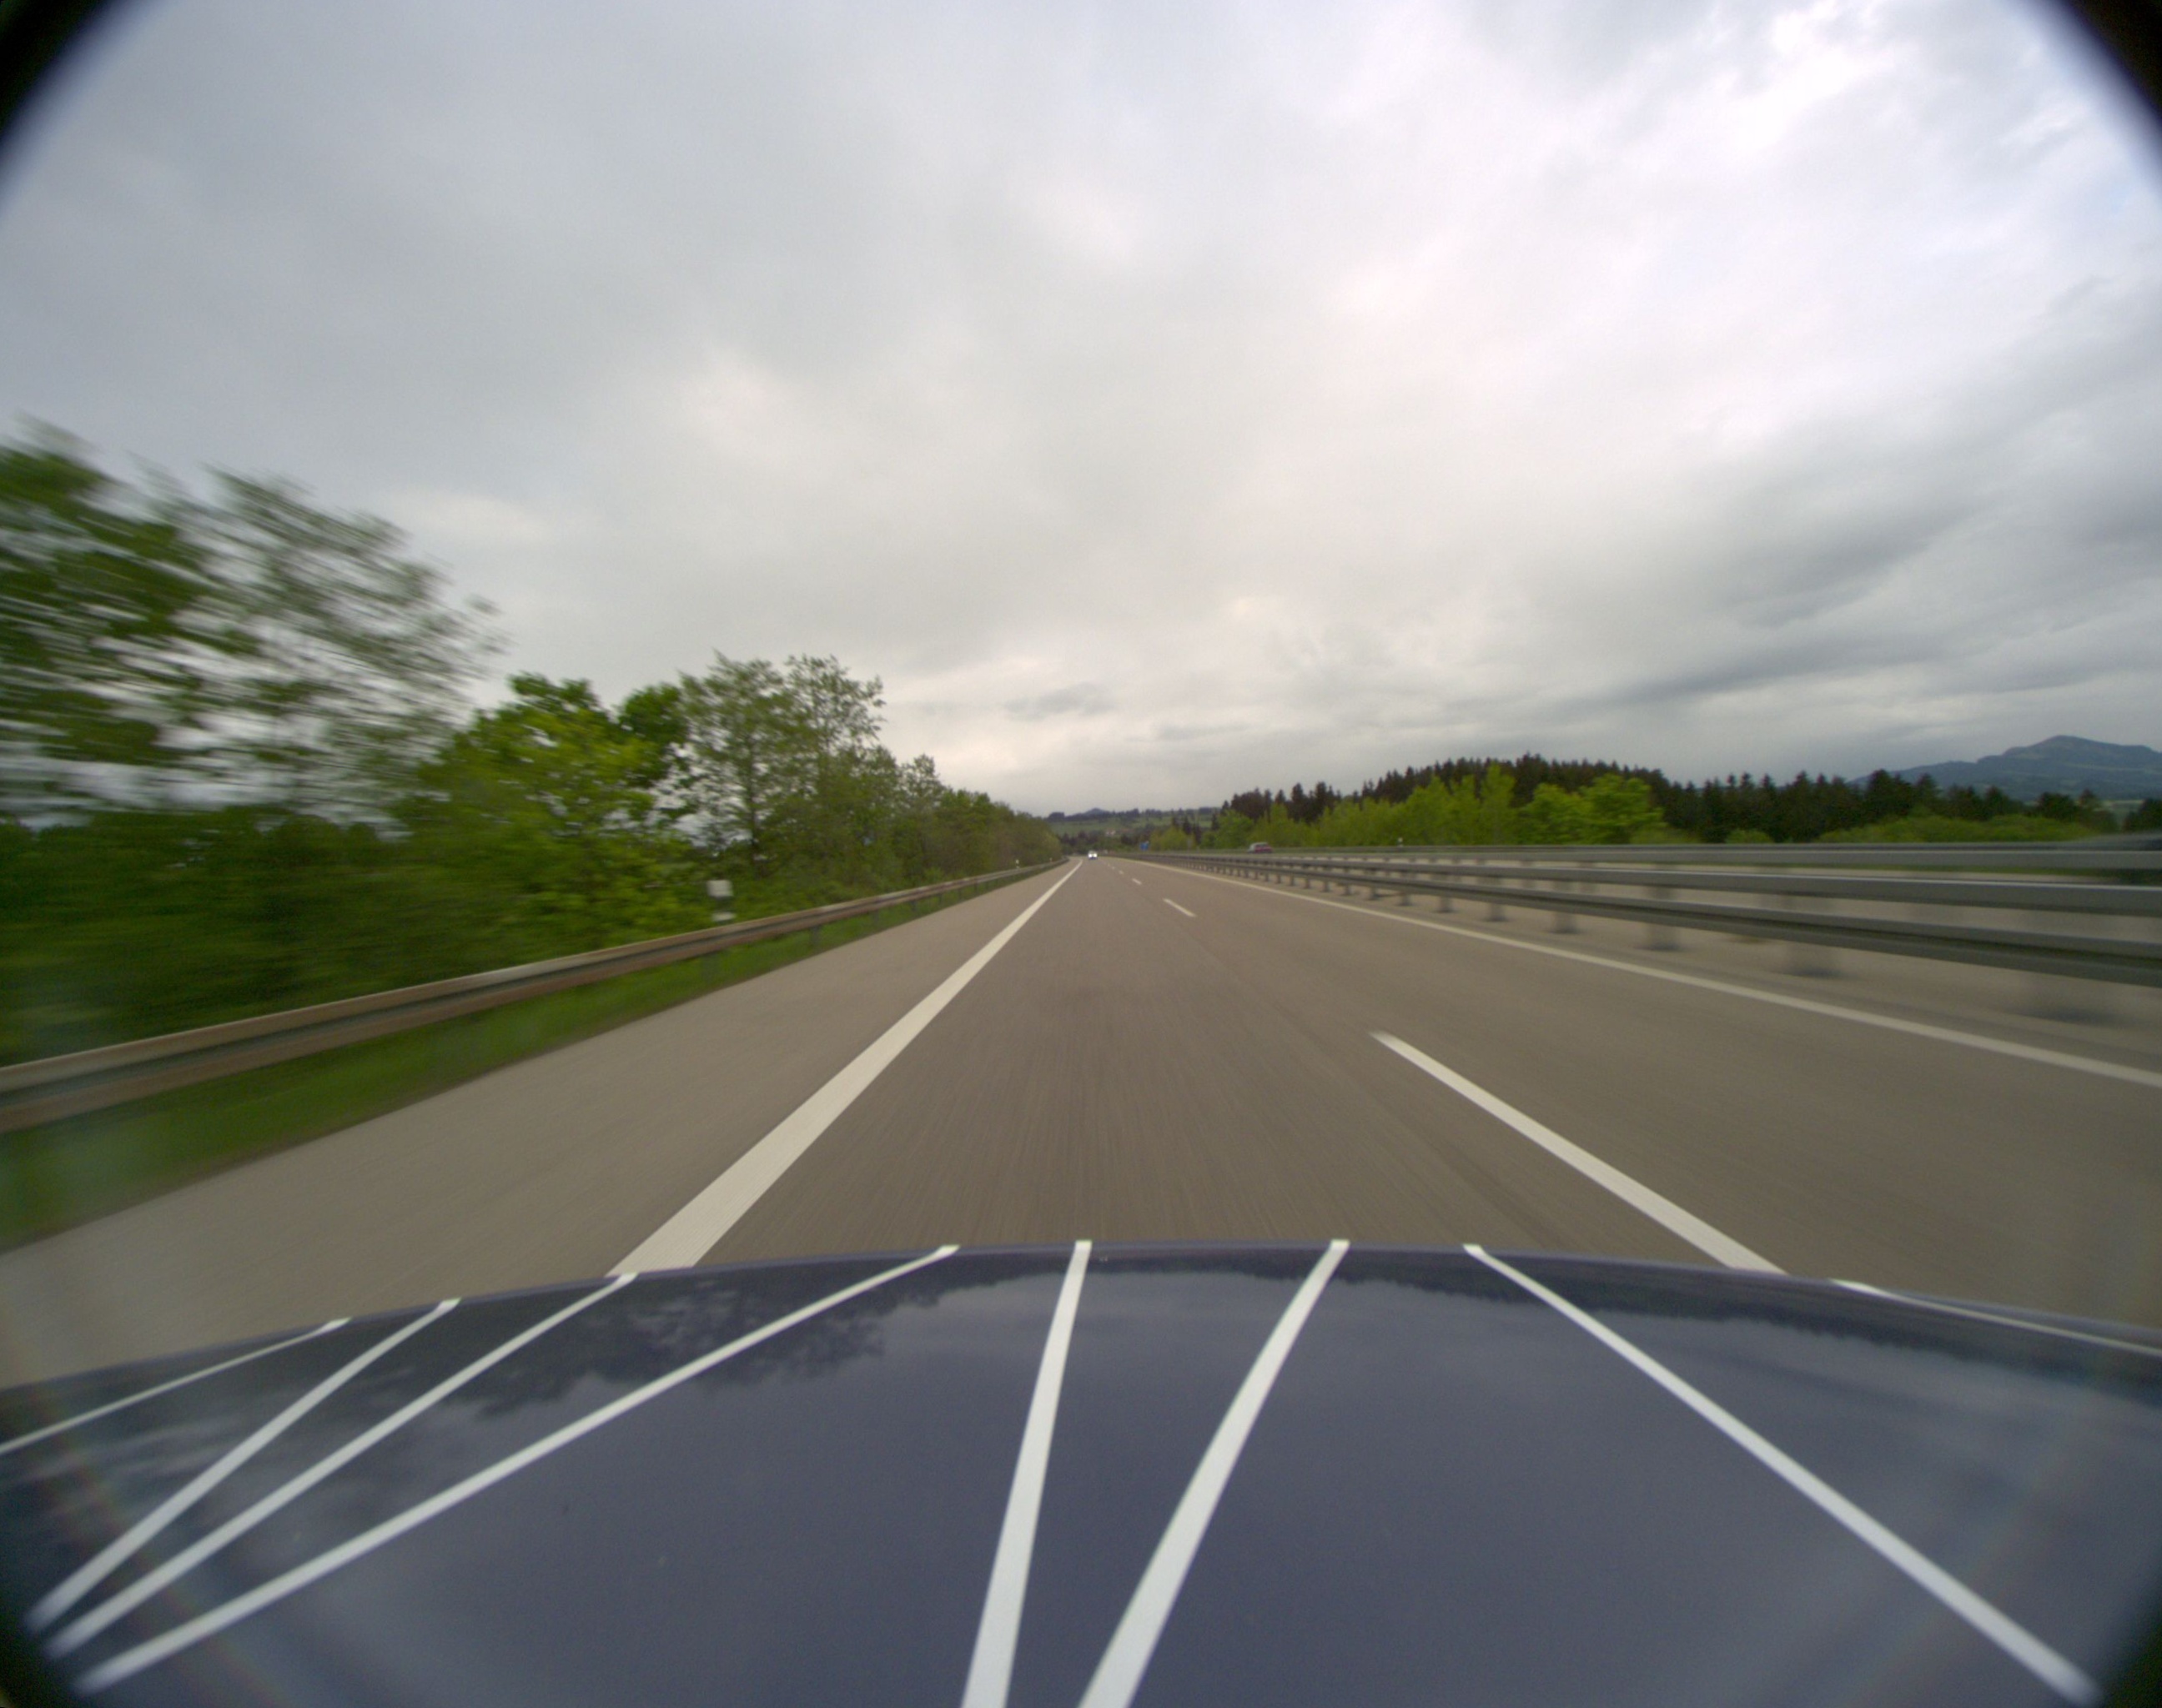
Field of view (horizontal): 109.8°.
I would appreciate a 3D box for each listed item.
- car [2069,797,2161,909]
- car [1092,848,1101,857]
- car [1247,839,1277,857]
[{"bbox_3d":[16.732,-0.039,9.662,1.999,1.607,4.846,-3,1,0],"label":"car"},{"bbox_3d":[3.739,-0.392,179.484,2.021,1.899,4.221,-4,0,1],"label":"car"},{"bbox_3d":[17.749,-0.605,74.865,1.904,1.603,4.228,-4,1,1],"label":"car"}]
